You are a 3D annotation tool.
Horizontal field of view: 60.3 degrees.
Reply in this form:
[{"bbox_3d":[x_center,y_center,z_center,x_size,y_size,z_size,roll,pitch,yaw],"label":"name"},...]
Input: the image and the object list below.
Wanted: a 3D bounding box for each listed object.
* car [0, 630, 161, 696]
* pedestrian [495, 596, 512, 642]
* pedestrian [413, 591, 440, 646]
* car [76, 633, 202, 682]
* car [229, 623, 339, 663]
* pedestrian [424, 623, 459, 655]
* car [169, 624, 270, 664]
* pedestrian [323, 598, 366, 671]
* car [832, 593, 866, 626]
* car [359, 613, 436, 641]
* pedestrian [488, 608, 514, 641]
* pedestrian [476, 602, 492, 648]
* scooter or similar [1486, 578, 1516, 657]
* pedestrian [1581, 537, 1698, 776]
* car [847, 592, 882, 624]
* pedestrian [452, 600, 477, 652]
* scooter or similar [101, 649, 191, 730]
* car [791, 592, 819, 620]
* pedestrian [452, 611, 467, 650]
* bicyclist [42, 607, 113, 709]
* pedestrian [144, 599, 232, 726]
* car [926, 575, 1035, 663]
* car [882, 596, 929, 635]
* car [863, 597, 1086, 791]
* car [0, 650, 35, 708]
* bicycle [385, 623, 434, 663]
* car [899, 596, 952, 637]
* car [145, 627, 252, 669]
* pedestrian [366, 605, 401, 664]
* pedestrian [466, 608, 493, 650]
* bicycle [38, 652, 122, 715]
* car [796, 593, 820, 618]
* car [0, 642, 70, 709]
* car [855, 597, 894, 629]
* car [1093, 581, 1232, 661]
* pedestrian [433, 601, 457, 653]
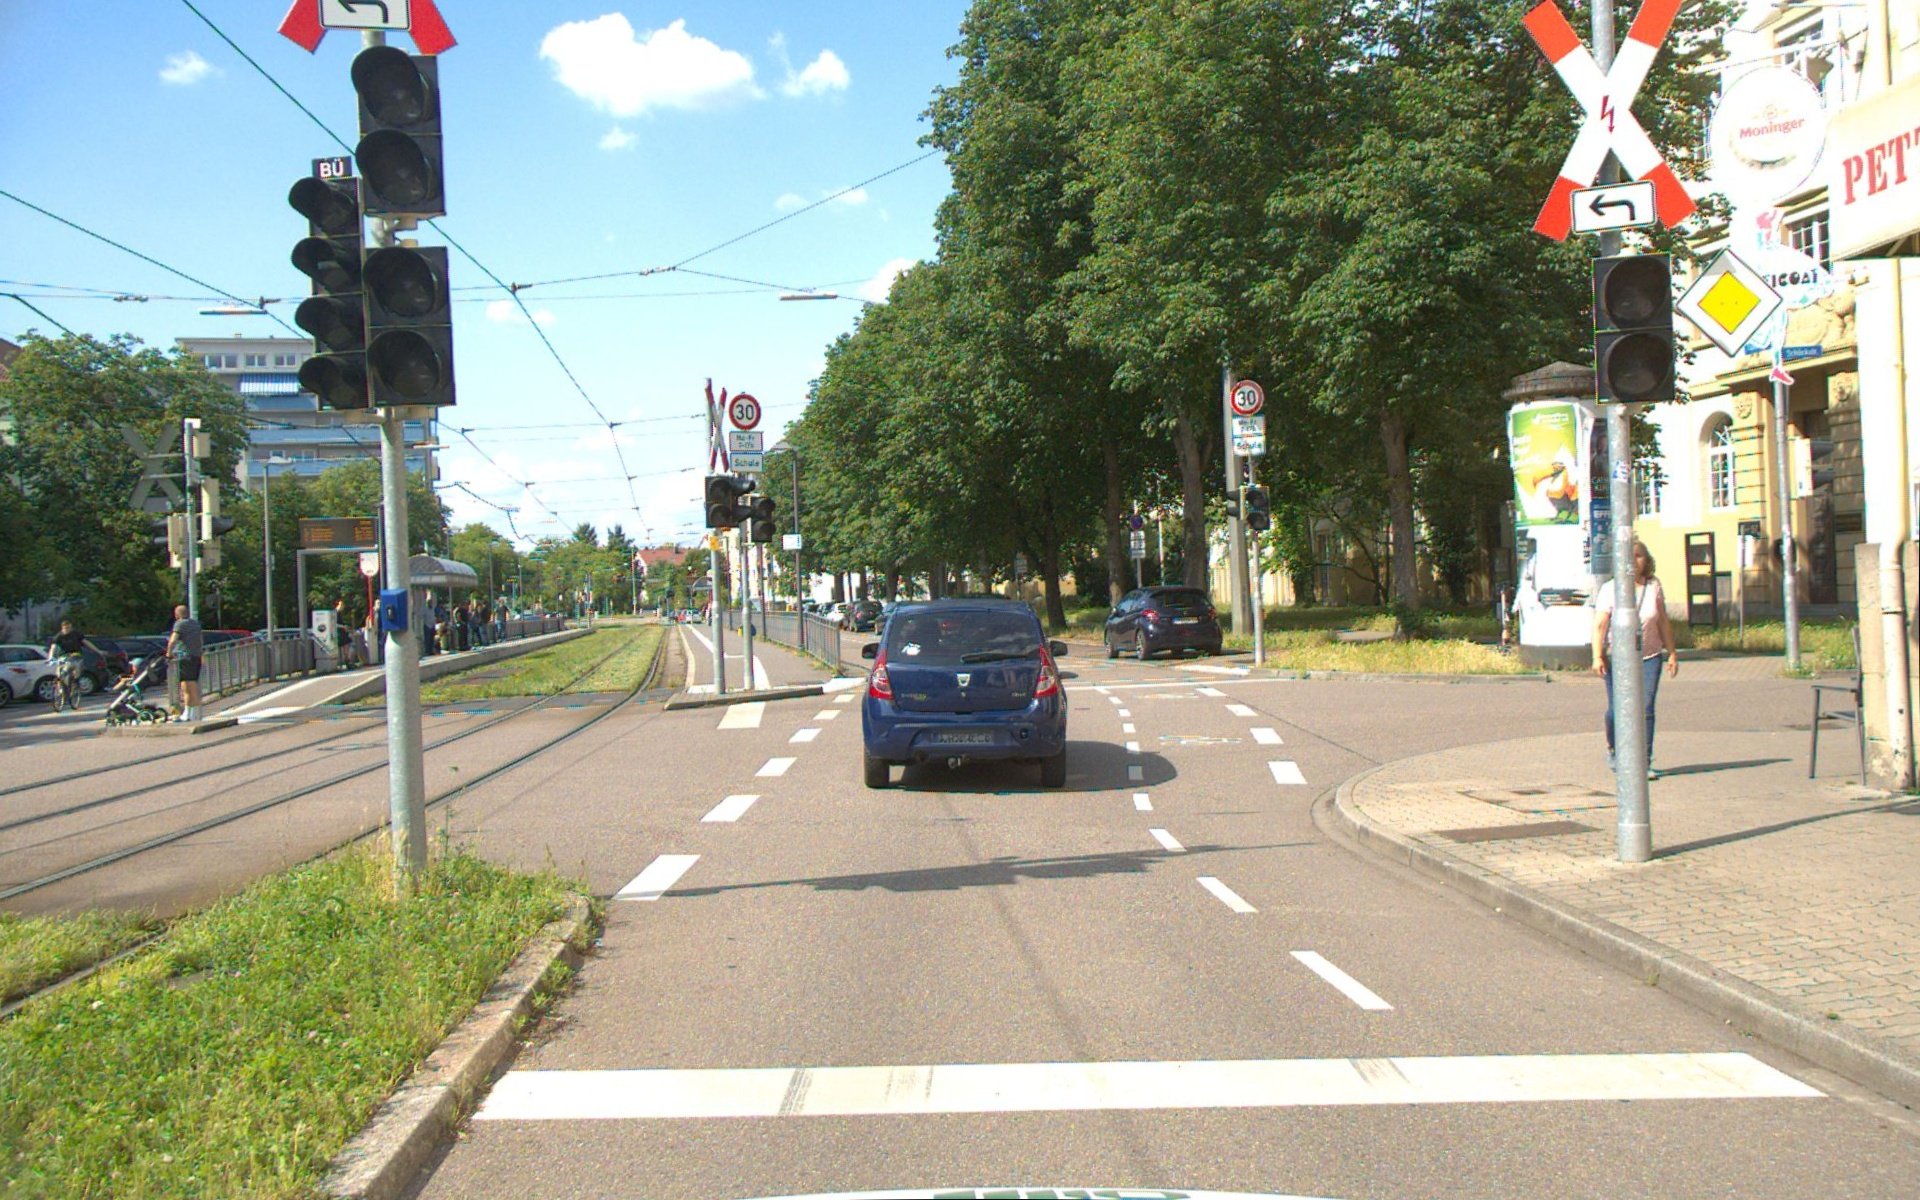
[{"bbox_3d":[-24.395,1.713,45.510,1.659,1.482,3.980,-3,0,40],"label":"car"},{"bbox_3d":[-20.538,0.860,74.415,0.650,2.049,0.800,-3,0,-16],"label":"pedestrian"},{"bbox_3d":[-17.019,0.584,52.786,0.643,1.722,0.655,-3,0,-9],"label":"pedestrian"},{"bbox_3d":[-25.582,1.784,51.602,1.425,1.332,3.239,-3,0,32],"label":"car"},{"bbox_3d":[-28.692,1.811,70.280,1.684,1.391,3.981,-3,0,39],"label":"car"},{"bbox_3d":[-17.050,1.283,54.407,0.907,1.006,0.796,-3,-1,-7],"label":"pedestrian"},{"bbox_3d":[-28.230,1.669,63.126,1.426,1.332,3.236,-3,0,35],"label":"car"},{"bbox_3d":[-15.315,0.861,41.150,0.699,1.756,0.666,-3,0,33],"label":"pedestrian"},{"bbox_3d":[-6.518,0.548,97.205,1.588,1.780,3.992,-3,0,-9],"label":"car"},{"bbox_3d":[-32.313,1.561,95.154,1.606,1.410,3.987,-3,0,35],"label":"car"},{"bbox_3d":[-21.507,1.141,77.488,1.016,1.462,0.698,-4,1,-24],"label":"pedestrian"},{"bbox_3d":[-18.575,0.974,64.490,0.481,1.742,0.461,-3,0,-19],"label":"pedestrian"},{"bbox_3d":[8.549,0.261,26.161,0.299,1.210,1.163,-3,0,13],"label":"scooter or similar"},{"bbox_3d":[4.970,0.405,12.138,0.658,1.677,0.764,-3,-1,19],"label":"pedestrian"},{"bbox_3d":[-5.167,0.432,89.020,1.792,1.564,3.997,-3,0,-4],"label":"car"},{"bbox_3d":[-17.367,0.909,57.947,0.592,1.796,0.639,-3,0,0],"label":"pedestrian"},{"bbox_3d":[-12.136,1.321,24.692,0.937,1.083,0.795,-5,0,-10],"label":"scooter or similar"},{"bbox_3d":[-10.850,0.403,115.891,1.794,1.792,3.997,-3,0,-4],"label":"car"},{"bbox_3d":[-19.464,1.188,64.346,0.481,1.477,0.461,-3,0,-19],"label":"pedestrian"},{"bbox_3d":[-18.527,1.199,34.767,0.932,2.049,1.569,-3,0,-16],"label":"bicyclist"},{"bbox_3d":[-11.612,0.928,24.919,0.855,1.806,1.001,-4,0,-11],"label":"pedestrian"},{"bbox_3d":[0.295,0.282,28.453,1.666,1.391,3.513,-1,1,-2],"label":"car"},{"bbox_3d":[-2.362,0.640,71.173,1.815,1.542,3.997,-3,0,-4],"label":"car"},{"bbox_3d":[0.098,0.729,14.762,1.732,1.487,3.775,0,0,-1],"label":"car"},{"bbox_3d":[-22.947,1.873,37.258,1.516,1.257,3.370,-3,0,41],"label":"car"},{"bbox_3d":[-15.363,1.204,46.211,0.672,0.991,1.771,-5,1,1],"label":"bicycle"},{"bbox_3d":[-1.424,0.627,66.465,1.825,1.470,3.997,-4,0,-4],"label":"car"},{"bbox_3d":[-27.618,1.738,60.073,1.426,1.332,3.236,-3,0,35],"label":"car"},{"bbox_3d":[-16.124,0.956,46.291,0.650,1.596,0.685,-4,0,-2],"label":"pedestrian"},{"bbox_3d":[-17.091,1.029,58.802,0.641,1.450,0.562,-3,0,28],"label":"pedestrian"},{"bbox_3d":[-18.478,1.736,34.787,1.136,1.198,1.780,-4,0,-16],"label":"bicycle"},{"bbox_3d":[-11.235,0.395,121.991,1.635,1.802,3.995,-3,0,-5],"label":"car"},{"bbox_3d":[-23.659,1.876,40.046,1.517,1.531,3.368,-3,0,42],"label":"car"},{"bbox_3d":[-4.351,0.639,83.468,1.825,1.470,3.997,-4,0,-4],"label":"car"},{"bbox_3d":[4.142,0.412,34.445,1.734,1.458,3.894,-3,0,-10],"label":"car"},{"bbox_3d":[-17.697,0.919,56.889,0.582,1.766,0.556,-3,0,-5],"label":"pedestrian"}]
